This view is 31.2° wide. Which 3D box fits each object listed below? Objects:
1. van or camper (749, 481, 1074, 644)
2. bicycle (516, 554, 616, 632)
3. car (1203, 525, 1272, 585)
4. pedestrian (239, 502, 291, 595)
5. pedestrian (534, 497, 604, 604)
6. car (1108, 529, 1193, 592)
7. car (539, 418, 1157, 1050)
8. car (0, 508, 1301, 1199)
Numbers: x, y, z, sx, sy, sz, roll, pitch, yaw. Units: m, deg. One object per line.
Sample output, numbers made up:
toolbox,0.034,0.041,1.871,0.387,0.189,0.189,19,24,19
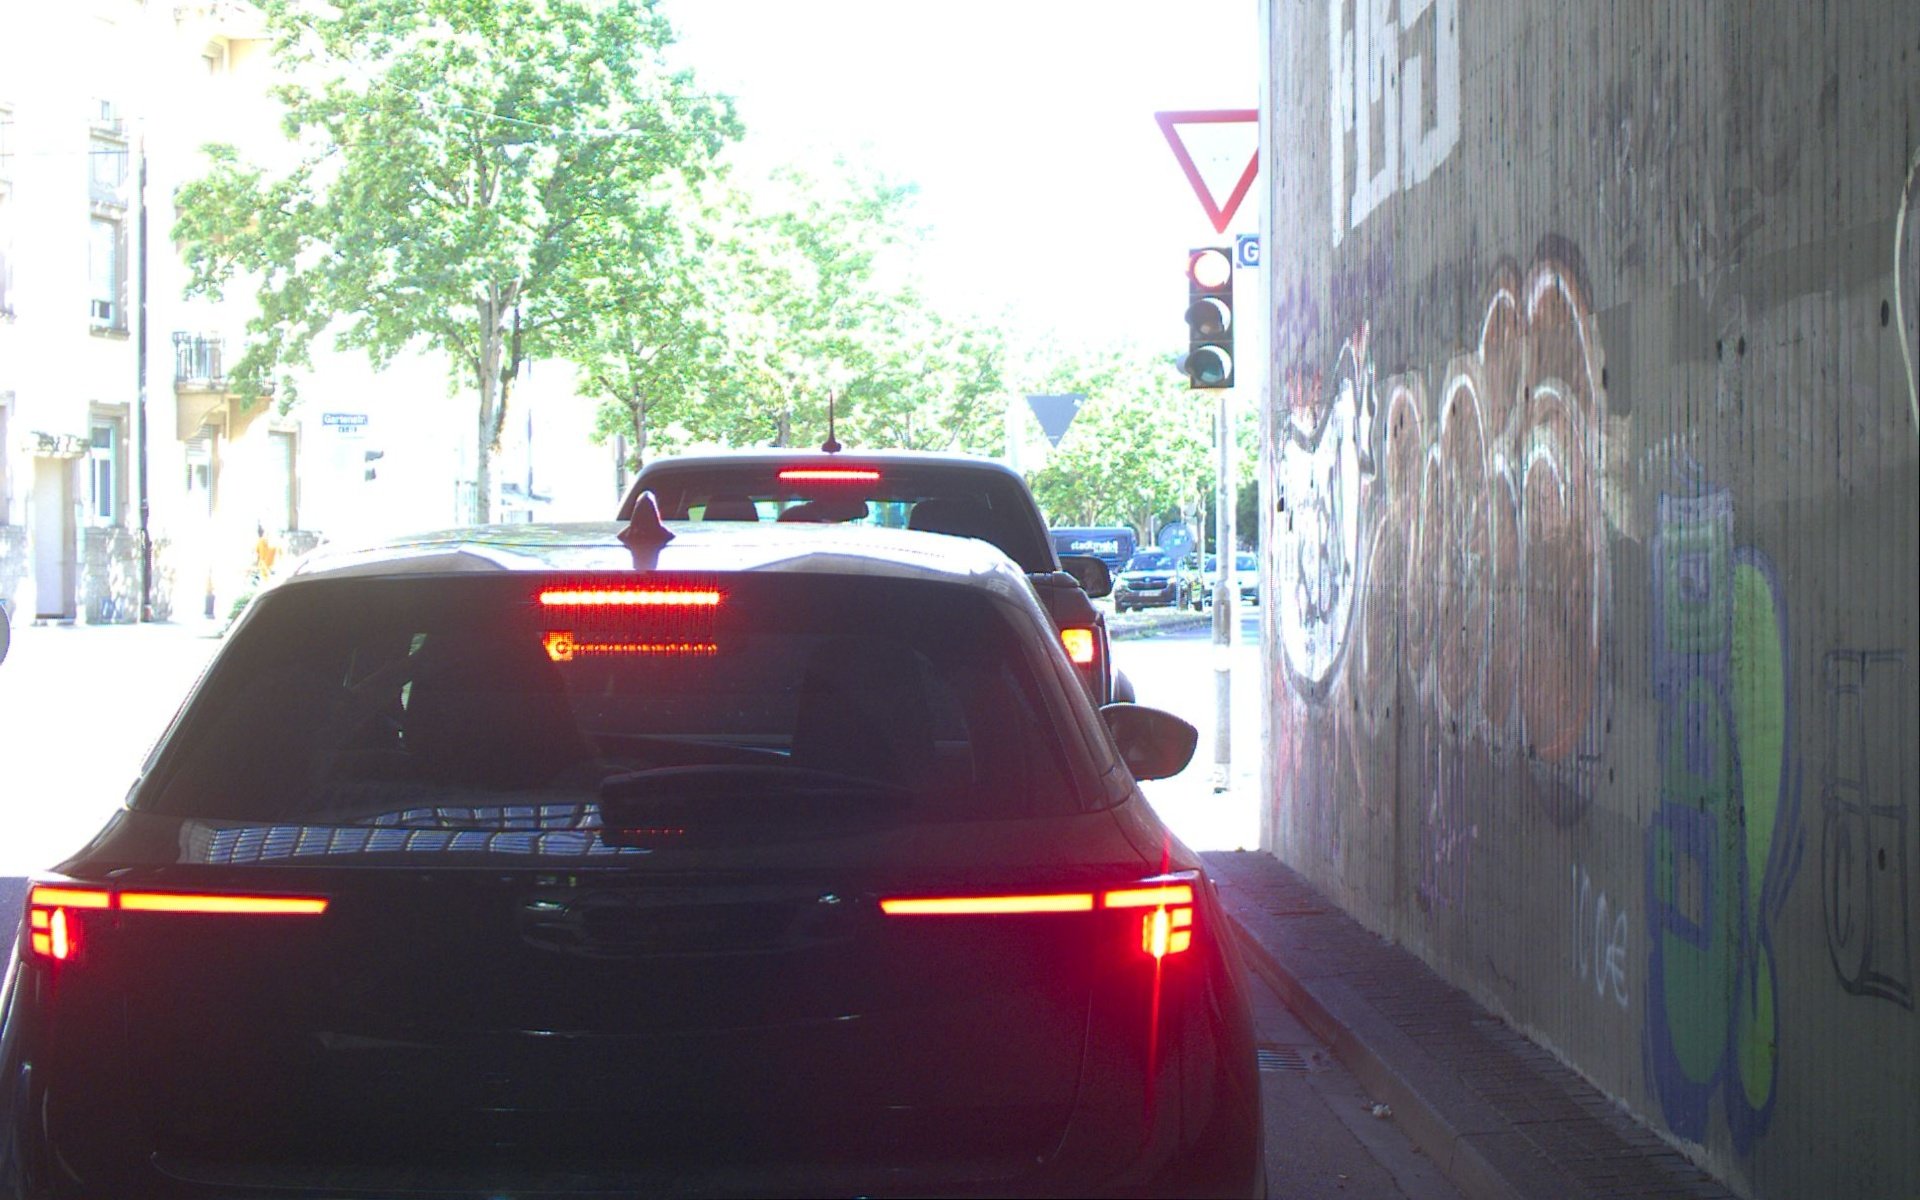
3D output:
van or camper,-0.575,-0.477,43.626,3.878,2.007,2.000,0,1,7
bicycle,-5.871,-0.110,51.371,0.737,1.126,2.025,0,1,17
car,7.772,-1.260,95.901,1.584,1.634,3.804,0,1,10
pedestrian,-12.810,-0.952,63.368,0.623,1.699,0.722,1,0,20
pedestrian,-5.846,-0.743,51.446,0.736,1.579,0.889,1,0,15
car,4.505,-0.937,80.846,1.599,1.447,3.794,0,1,9
car,-0.344,0.355,12.017,1.786,1.827,3.961,1,1,0
car,-0.487,0.607,6.155,1.753,1.493,4.000,1,1,0
